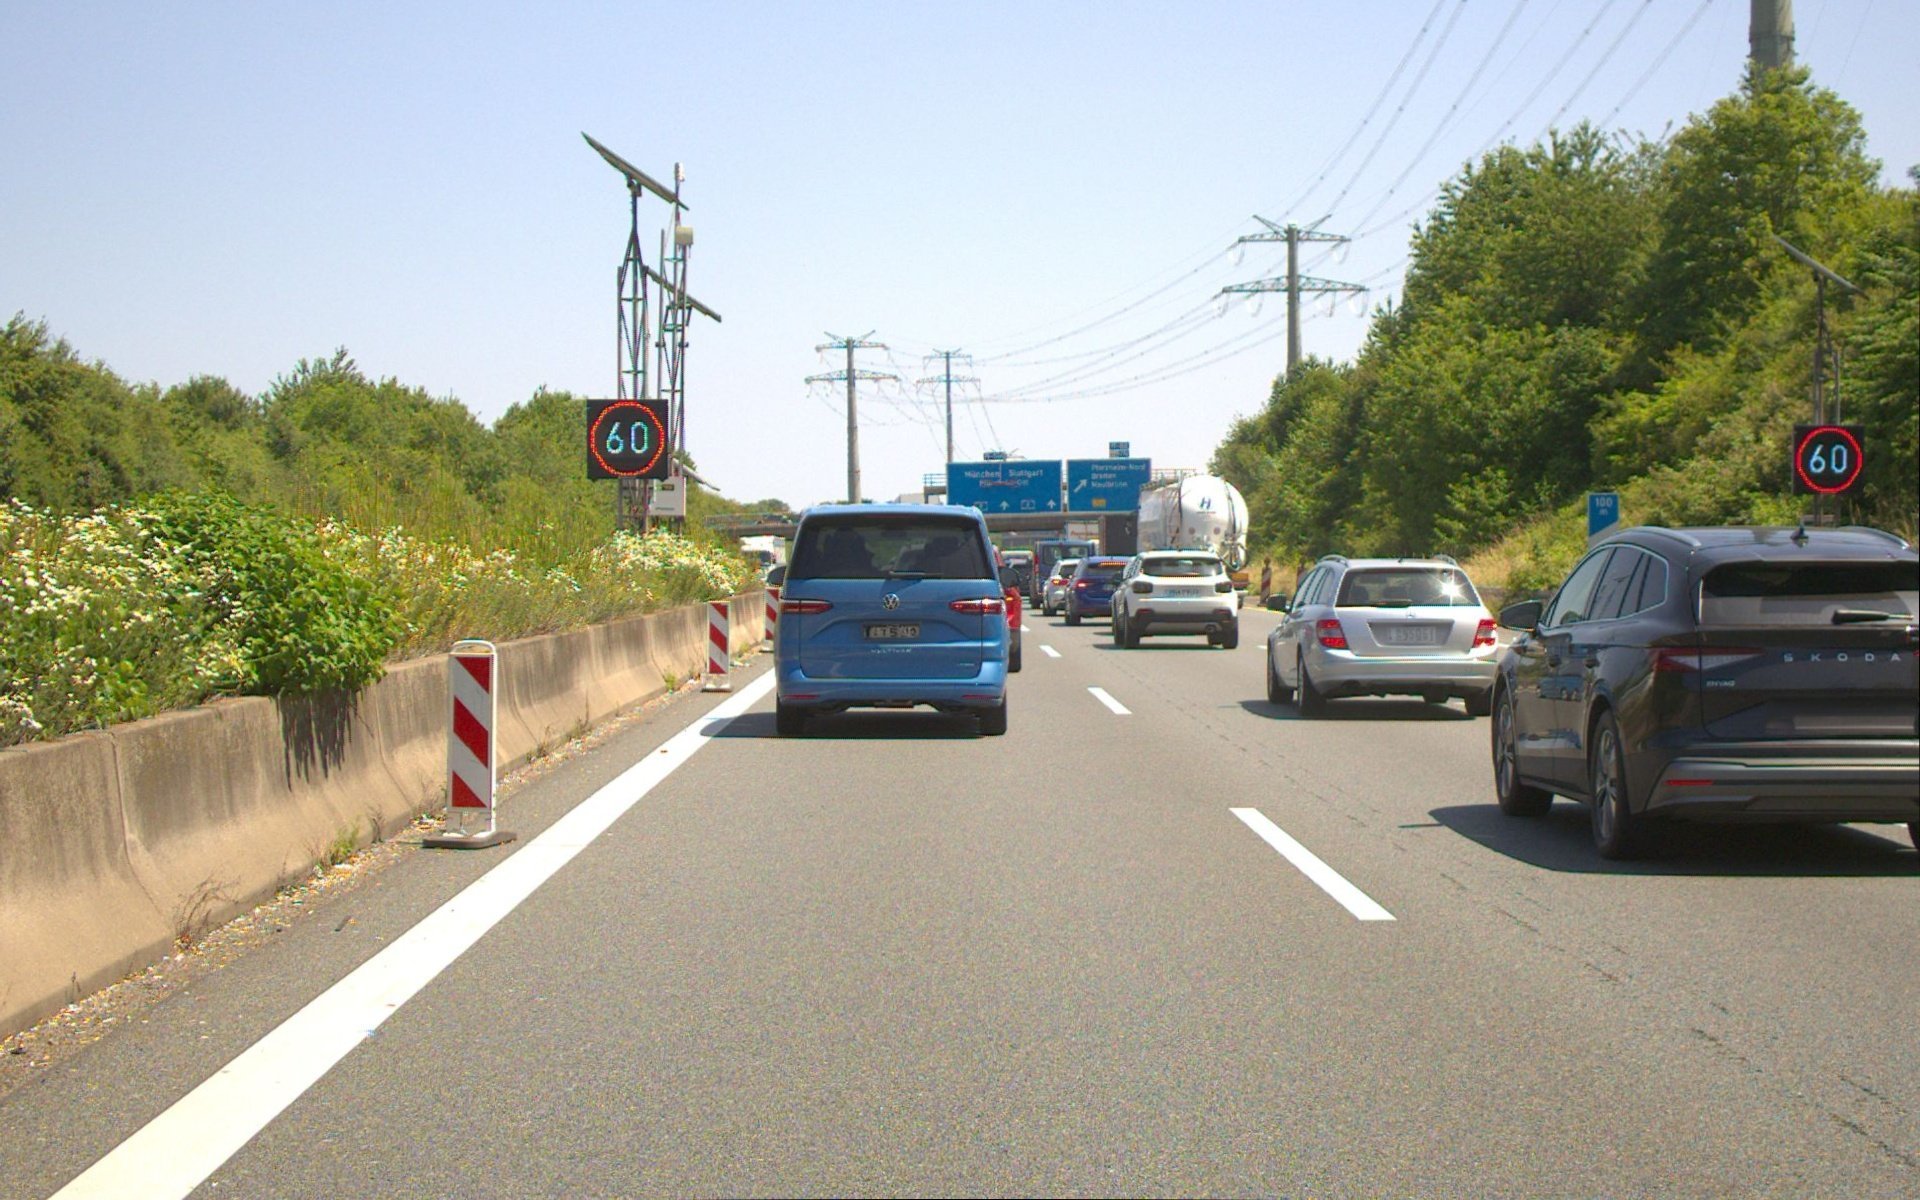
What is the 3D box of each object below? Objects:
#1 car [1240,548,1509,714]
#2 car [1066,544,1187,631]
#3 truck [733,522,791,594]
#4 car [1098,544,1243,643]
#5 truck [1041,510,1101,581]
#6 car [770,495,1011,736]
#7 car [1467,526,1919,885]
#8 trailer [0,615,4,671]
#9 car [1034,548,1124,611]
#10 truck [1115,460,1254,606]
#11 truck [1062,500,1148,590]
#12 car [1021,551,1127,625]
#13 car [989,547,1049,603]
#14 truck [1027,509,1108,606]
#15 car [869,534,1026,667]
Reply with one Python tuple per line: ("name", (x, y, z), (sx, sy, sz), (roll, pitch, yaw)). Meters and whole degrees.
("car", (3.819, 0.244, 32.381), (1.821, 1.432, 4.384), (1, 1, -2))
("car", (3.131, -0.259, 65.469), (1.908, 1.564, 4.384), (1, 1, -2))
("truck", (-11.426, -2.448, 199.262), (2.762, 3.875, 9.030), (-3, 1, -1))
("car", (3.334, -0.131, 55.047), (1.908, 1.503, 3.922), (1, 1, -2))
("truck", (6.870, -3.418, 214.969), (2.938, 4.276, 12.553), (1, 1, -1))
("car", (-0.643, 0.094, 29.248), (1.871, 1.872, 4.384), (1, 1, -3))
("car", (3.901, 0.433, 17.660), (1.828, 1.609, 4.431), (0, 1, -1))
("trailer", (-16.557, -0.756, 46.856), (3.016, 4.152, 14.021), (-3, 1, -1))
("car", (2.957, -0.531, 85.984), (1.908, 1.511, 4.384), (1, 1, -2))
("truck", (6.652, -1.990, 104.300), (2.644, 4.058, 16.442), (1, 1, -1))
("truck", (5.956, -2.263, 142.876), (2.644, 3.526, 12.553), (1, 1, -1))
("car", (2.396, -0.282, 73.200), (1.908, 1.511, 4.384), (1, 1, -2))
("car", (2.145, -0.926, 125.377), (1.993, 2.007, 4.000), (1, 1, -1))
("truck", (3.111, -1.254, 100.283), (1.993, 2.714, 5.680), (1, 1, -1))
("car", (-0.210, -0.027, 44.270), (1.908, 1.625, 4.384), (0, 1, -2))
